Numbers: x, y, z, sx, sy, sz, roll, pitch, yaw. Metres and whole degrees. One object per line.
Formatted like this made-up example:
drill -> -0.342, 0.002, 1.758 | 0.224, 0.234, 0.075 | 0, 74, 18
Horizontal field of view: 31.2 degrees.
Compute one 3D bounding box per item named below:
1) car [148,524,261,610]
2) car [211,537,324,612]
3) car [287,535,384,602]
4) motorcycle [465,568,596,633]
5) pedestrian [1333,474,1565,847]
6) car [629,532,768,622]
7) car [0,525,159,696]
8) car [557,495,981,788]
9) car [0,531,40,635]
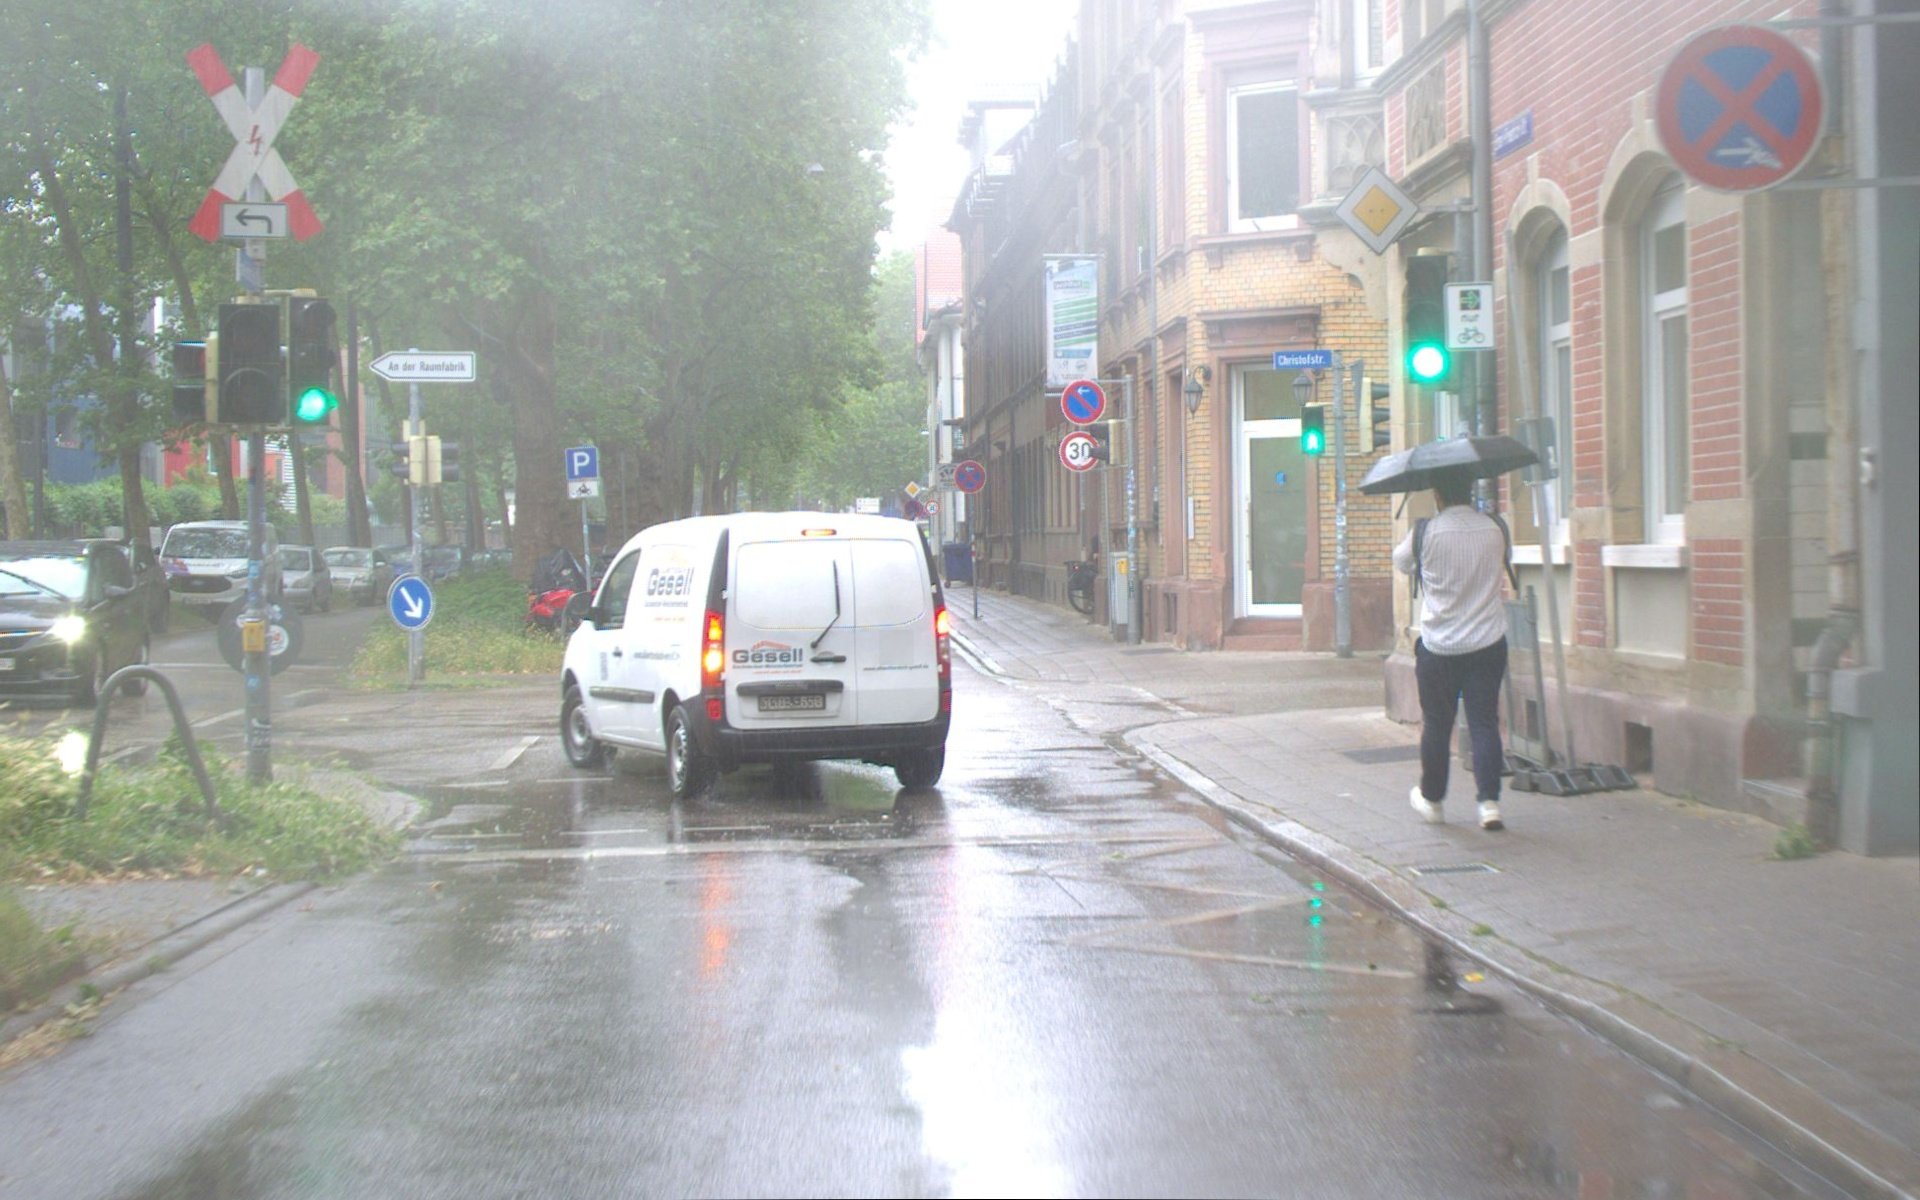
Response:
car -> -14.521, -0.659, 66.230 | 1.993, 1.575, 4.001 | -1, 1, -11
car -> -15.279, -0.588, 76.000 | 1.997, 1.607, 4.124 | -1, 1, -5
car -> -15.642, -0.805, 86.282 | 1.997, 1.607, 4.124 | -1, 1, -5
motorcycle -> -5.903, 0.002, 47.258 | 1.706, 0.862, 0.577 | 0, 1, 3
pedestrian -> 2.381, 0.275, 16.853 | 0.840, 1.710, 1.108 | -4, 1, -1
car -> -4.207, -0.401, 55.832 | 1.993, 1.382, 4.000 | -1, 1, -1
car -> -9.353, 0.059, 34.492 | 1.997, 1.607, 4.124 | -1, 1, -5
car -> -1.399, 0.261, 23.287 | 1.903, 1.791, 4.114 | -1, 0, -17
car -> -14.243, -0.261, 48.507 | 1.993, 1.410, 4.001 | -1, 1, -9
